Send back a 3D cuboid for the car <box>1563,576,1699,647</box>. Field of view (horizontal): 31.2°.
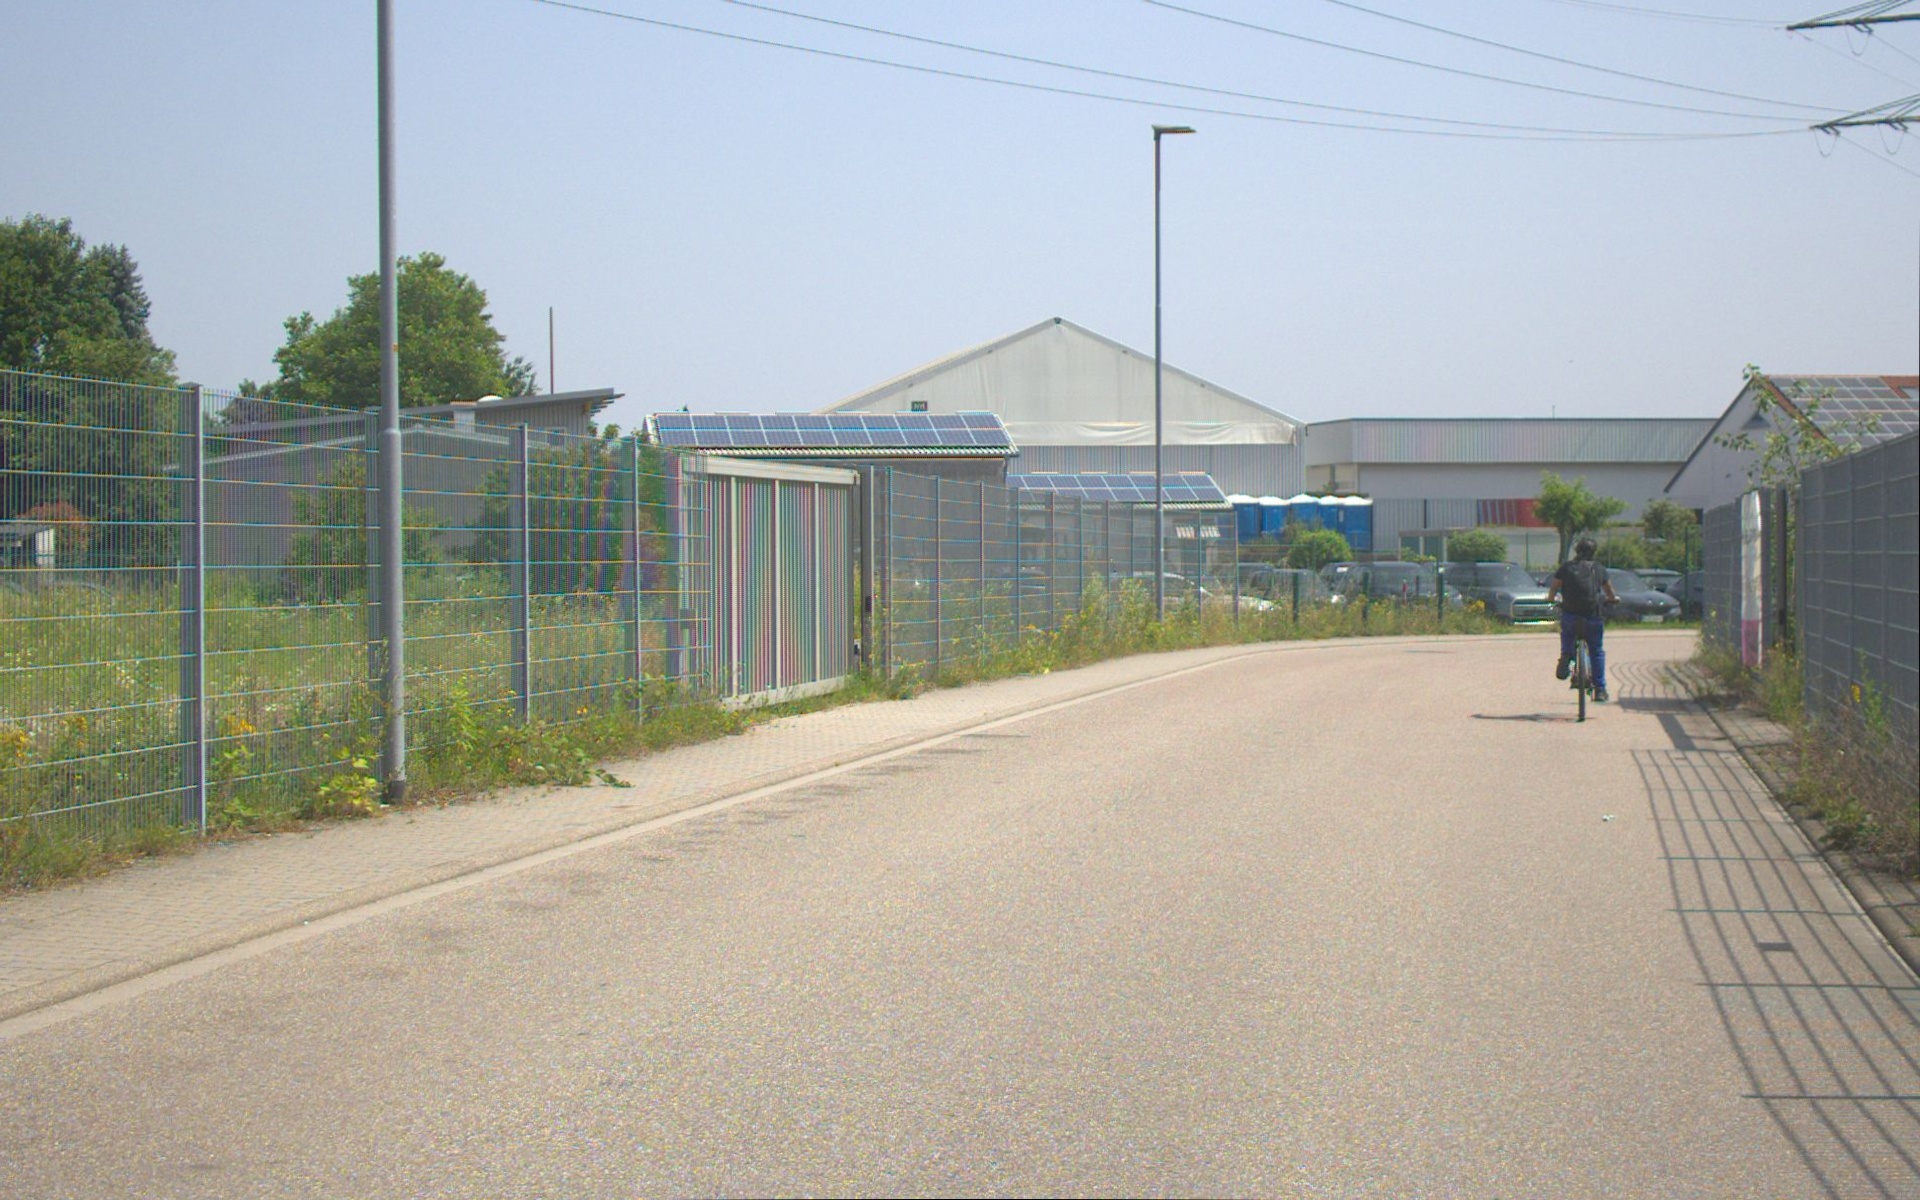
[{"bbox_3d":[15.364,0.246,78.864,1.862,1.549,3.771,0,1,-9],"label":"car"}]

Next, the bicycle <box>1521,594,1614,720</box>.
[{"bbox_3d":[5.446,0.495,30.753,0.685,1.048,1.899,1,1,14],"label":"bicycle"}]

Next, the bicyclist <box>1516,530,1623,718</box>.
[{"bbox_3d":[5.440,0.199,30.666,0.843,1.613,1.039,1,2,14],"label":"bicyclist"}]

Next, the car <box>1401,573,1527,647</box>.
[{"bbox_3d":[11.576,0.213,79.228,1.862,1.638,3.635,0,1,-9],"label":"car"}]
